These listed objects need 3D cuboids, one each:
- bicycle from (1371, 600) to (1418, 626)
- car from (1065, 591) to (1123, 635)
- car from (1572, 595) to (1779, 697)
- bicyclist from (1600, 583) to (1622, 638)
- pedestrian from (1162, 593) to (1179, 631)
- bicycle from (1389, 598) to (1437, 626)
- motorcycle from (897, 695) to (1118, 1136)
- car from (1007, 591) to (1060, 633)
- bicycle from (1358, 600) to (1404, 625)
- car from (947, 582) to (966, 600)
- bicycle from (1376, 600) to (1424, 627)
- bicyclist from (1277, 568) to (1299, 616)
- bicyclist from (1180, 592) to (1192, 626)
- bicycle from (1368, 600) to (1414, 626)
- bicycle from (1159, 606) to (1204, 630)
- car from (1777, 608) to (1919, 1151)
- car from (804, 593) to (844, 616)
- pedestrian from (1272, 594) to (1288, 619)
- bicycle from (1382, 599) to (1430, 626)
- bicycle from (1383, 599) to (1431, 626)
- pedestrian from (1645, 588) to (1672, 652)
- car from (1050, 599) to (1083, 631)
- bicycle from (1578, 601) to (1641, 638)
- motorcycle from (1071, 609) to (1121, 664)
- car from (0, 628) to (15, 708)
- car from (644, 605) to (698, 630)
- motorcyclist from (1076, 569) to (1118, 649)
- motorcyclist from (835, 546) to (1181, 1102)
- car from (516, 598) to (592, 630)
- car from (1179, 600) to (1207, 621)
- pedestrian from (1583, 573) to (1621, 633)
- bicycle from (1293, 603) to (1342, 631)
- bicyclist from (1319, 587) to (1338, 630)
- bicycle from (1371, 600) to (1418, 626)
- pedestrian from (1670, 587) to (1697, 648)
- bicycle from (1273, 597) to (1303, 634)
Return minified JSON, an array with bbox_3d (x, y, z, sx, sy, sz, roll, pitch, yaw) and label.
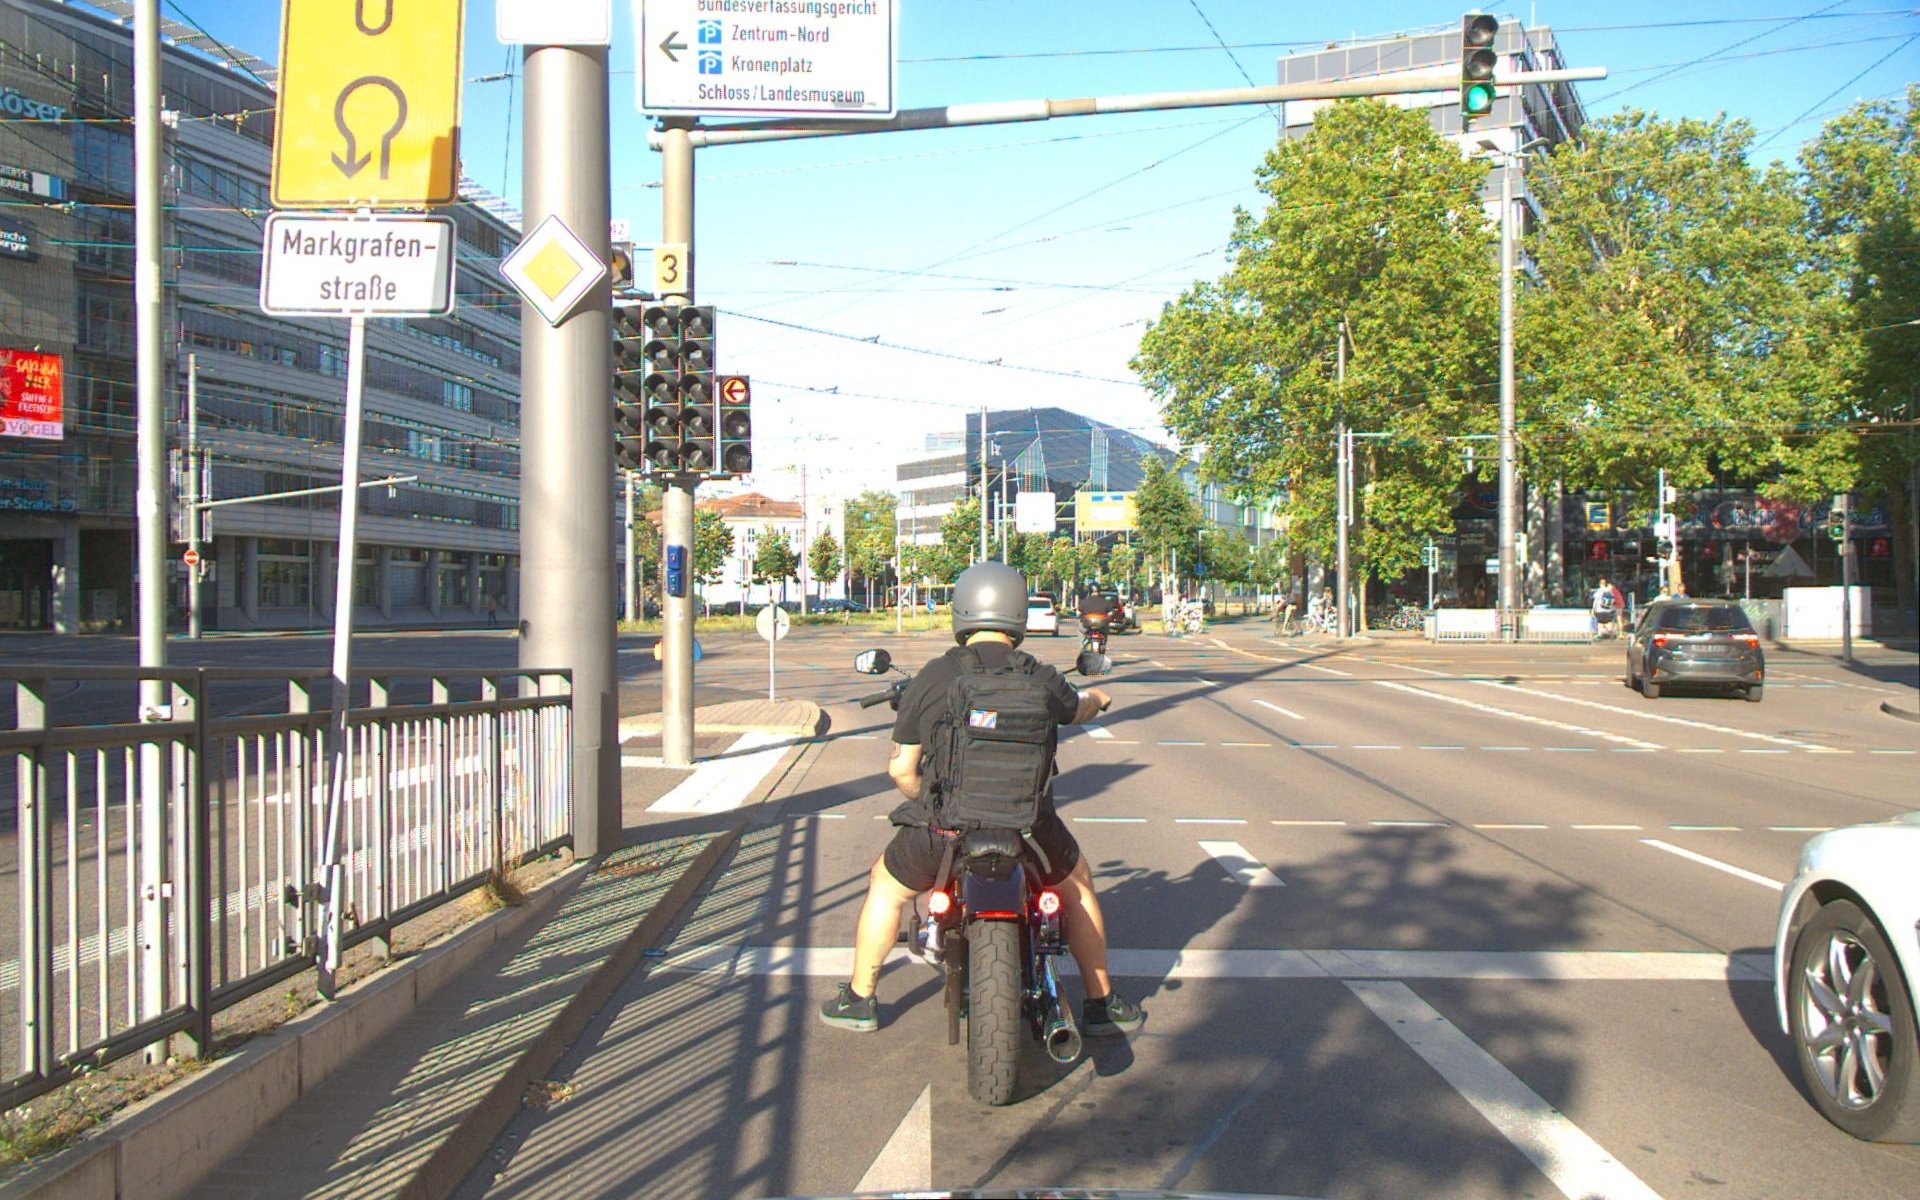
[{"bbox_3d":[18.199,0.537,69.260,1.842,1.064,0.360,1,0,-2],"label":"bicycle"},{"bbox_3d":[5.638,0.522,69.976,1.698,1.762,4.607,1,1,-5],"label":"car"},{"bbox_3d":[11.311,0.670,26.433,1.695,1.475,4.042,1,0,3],"label":"car"},{"bbox_3d":[22.411,0.372,56.921,0.572,1.870,0.402,1,-1,-1],"label":"bicyclist"},{"bbox_3d":[8.767,0.491,68.814,0.576,1.584,0.488,1,-1,-9],"label":"pedestrian"},{"bbox_3d":[18.069,0.479,65.984,1.842,1.065,0.360,1,-1,-2],"label":"bicycle"},{"bbox_3d":[0.113,0.926,5.630,0.588,1.054,2.233,1,0,-1],"label":"motorcycle"},{"bbox_3d":[2.728,0.451,62.208,1.696,1.482,4.417,1,-1,-1],"label":"car"},{"bbox_3d":[18.048,0.533,70.907,1.842,1.064,0.360,1,0,-2],"label":"bicycle"},{"bbox_3d":[-0.464,-1.104,205.266,1.951,2.049,4.303,1,-1,5],"label":"car"},{"bbox_3d":[18.122,0.537,68.140,1.842,1.064,0.360,1,0,-2],"label":"bicycle"},{"bbox_3d":[12.593,-0.310,63.517,0.682,1.840,0.729,1,-1,3],"label":"bicyclist"},{"bbox_3d":[9.184,0.360,67.215,0.374,1.397,0.344,1,-1,-9],"label":"bicyclist"},{"bbox_3d":[18.163,0.534,69.759,1.842,1.064,0.360,1,0,-2],"label":"bicycle"},{"bbox_3d":[8.988,0.722,67.184,1.792,0.942,0.357,1,-1,-9],"label":"bicycle"},{"bbox_3d":[3.448,0.759,3.006,1.766,1.455,4.453,0,0,1],"label":"car"},{"bbox_3d":[-9.889,0.333,120.446,1.712,1.550,4.003,1,-1,13],"label":"car"},{"bbox_3d":[17.575,0.372,90.936,0.802,1.337,0.638,1,-1,8],"label":"pedestrian"},{"bbox_3d":[18.227,0.522,67.586,1.842,1.065,0.360,1,-1,-2],"label":"bicycle"},{"bbox_3d":[18.047,0.498,66.766,1.842,1.065,0.360,1,-1,-2],"label":"bicycle"},{"bbox_3d":[17.423,0.498,41.252,0.554,1.559,0.702,1,-1,19],"label":"pedestrian"},{"bbox_3d":[5.971,0.846,92.905,1.765,1.708,4.042,1,-1,3],"label":"car"},{"bbox_3d":[22.346,0.685,56.910,2.001,1.235,0.421,1,-1,-1],"label":"bicycle"},{"bbox_3d":[2.771,0.730,33.840,0.787,1.069,2.375,1,-1,-1],"label":"motorcycle"},{"bbox_3d":[-14.554,0.905,22.430,2.835,1.081,1.235,1,-1,-22],"label":"car"},{"bbox_3d":[-17.227,1.065,98.706,1.786,1.455,4.244,1,-1,11],"label":"car"},{"bbox_3d":[2.779,0.183,33.641,0.780,1.607,0.529,1,-1,-2],"label":"motorcyclist"},{"bbox_3d":[0.135,0.651,5.279,1.009,1.621,0.873,0,0,-1],"label":"motorcyclist"},{"bbox_3d":[-19.555,0.642,79.763,1.786,1.455,4.534,0,0,11],"label":"car"},{"bbox_3d":[19.564,0.900,138.707,1.765,1.708,4.043,1,-1,15],"label":"car"},{"bbox_3d":[18.892,0.099,48.696,0.816,1.734,0.759,1,-1,-1],"label":"pedestrian"},{"bbox_3d":[14.165,0.673,65.519,1.831,1.062,0.537,0,-1,18],"label":"bicycle"},{"bbox_3d":[14.567,0.351,65.392,0.673,1.702,0.541,0,-1,18],"label":"bicyclist"},{"bbox_3d":[18.068,0.542,68.770,1.842,1.065,0.360,1,-1,-2],"label":"bicycle"},{"bbox_3d":[18.045,0.438,41.255,0.554,1.505,0.702,1,-1,20],"label":"pedestrian"},{"bbox_3d":[12.562,0.605,63.471,0.710,1.391,2.918,1,-1,3],"label":"bicycle"}]
